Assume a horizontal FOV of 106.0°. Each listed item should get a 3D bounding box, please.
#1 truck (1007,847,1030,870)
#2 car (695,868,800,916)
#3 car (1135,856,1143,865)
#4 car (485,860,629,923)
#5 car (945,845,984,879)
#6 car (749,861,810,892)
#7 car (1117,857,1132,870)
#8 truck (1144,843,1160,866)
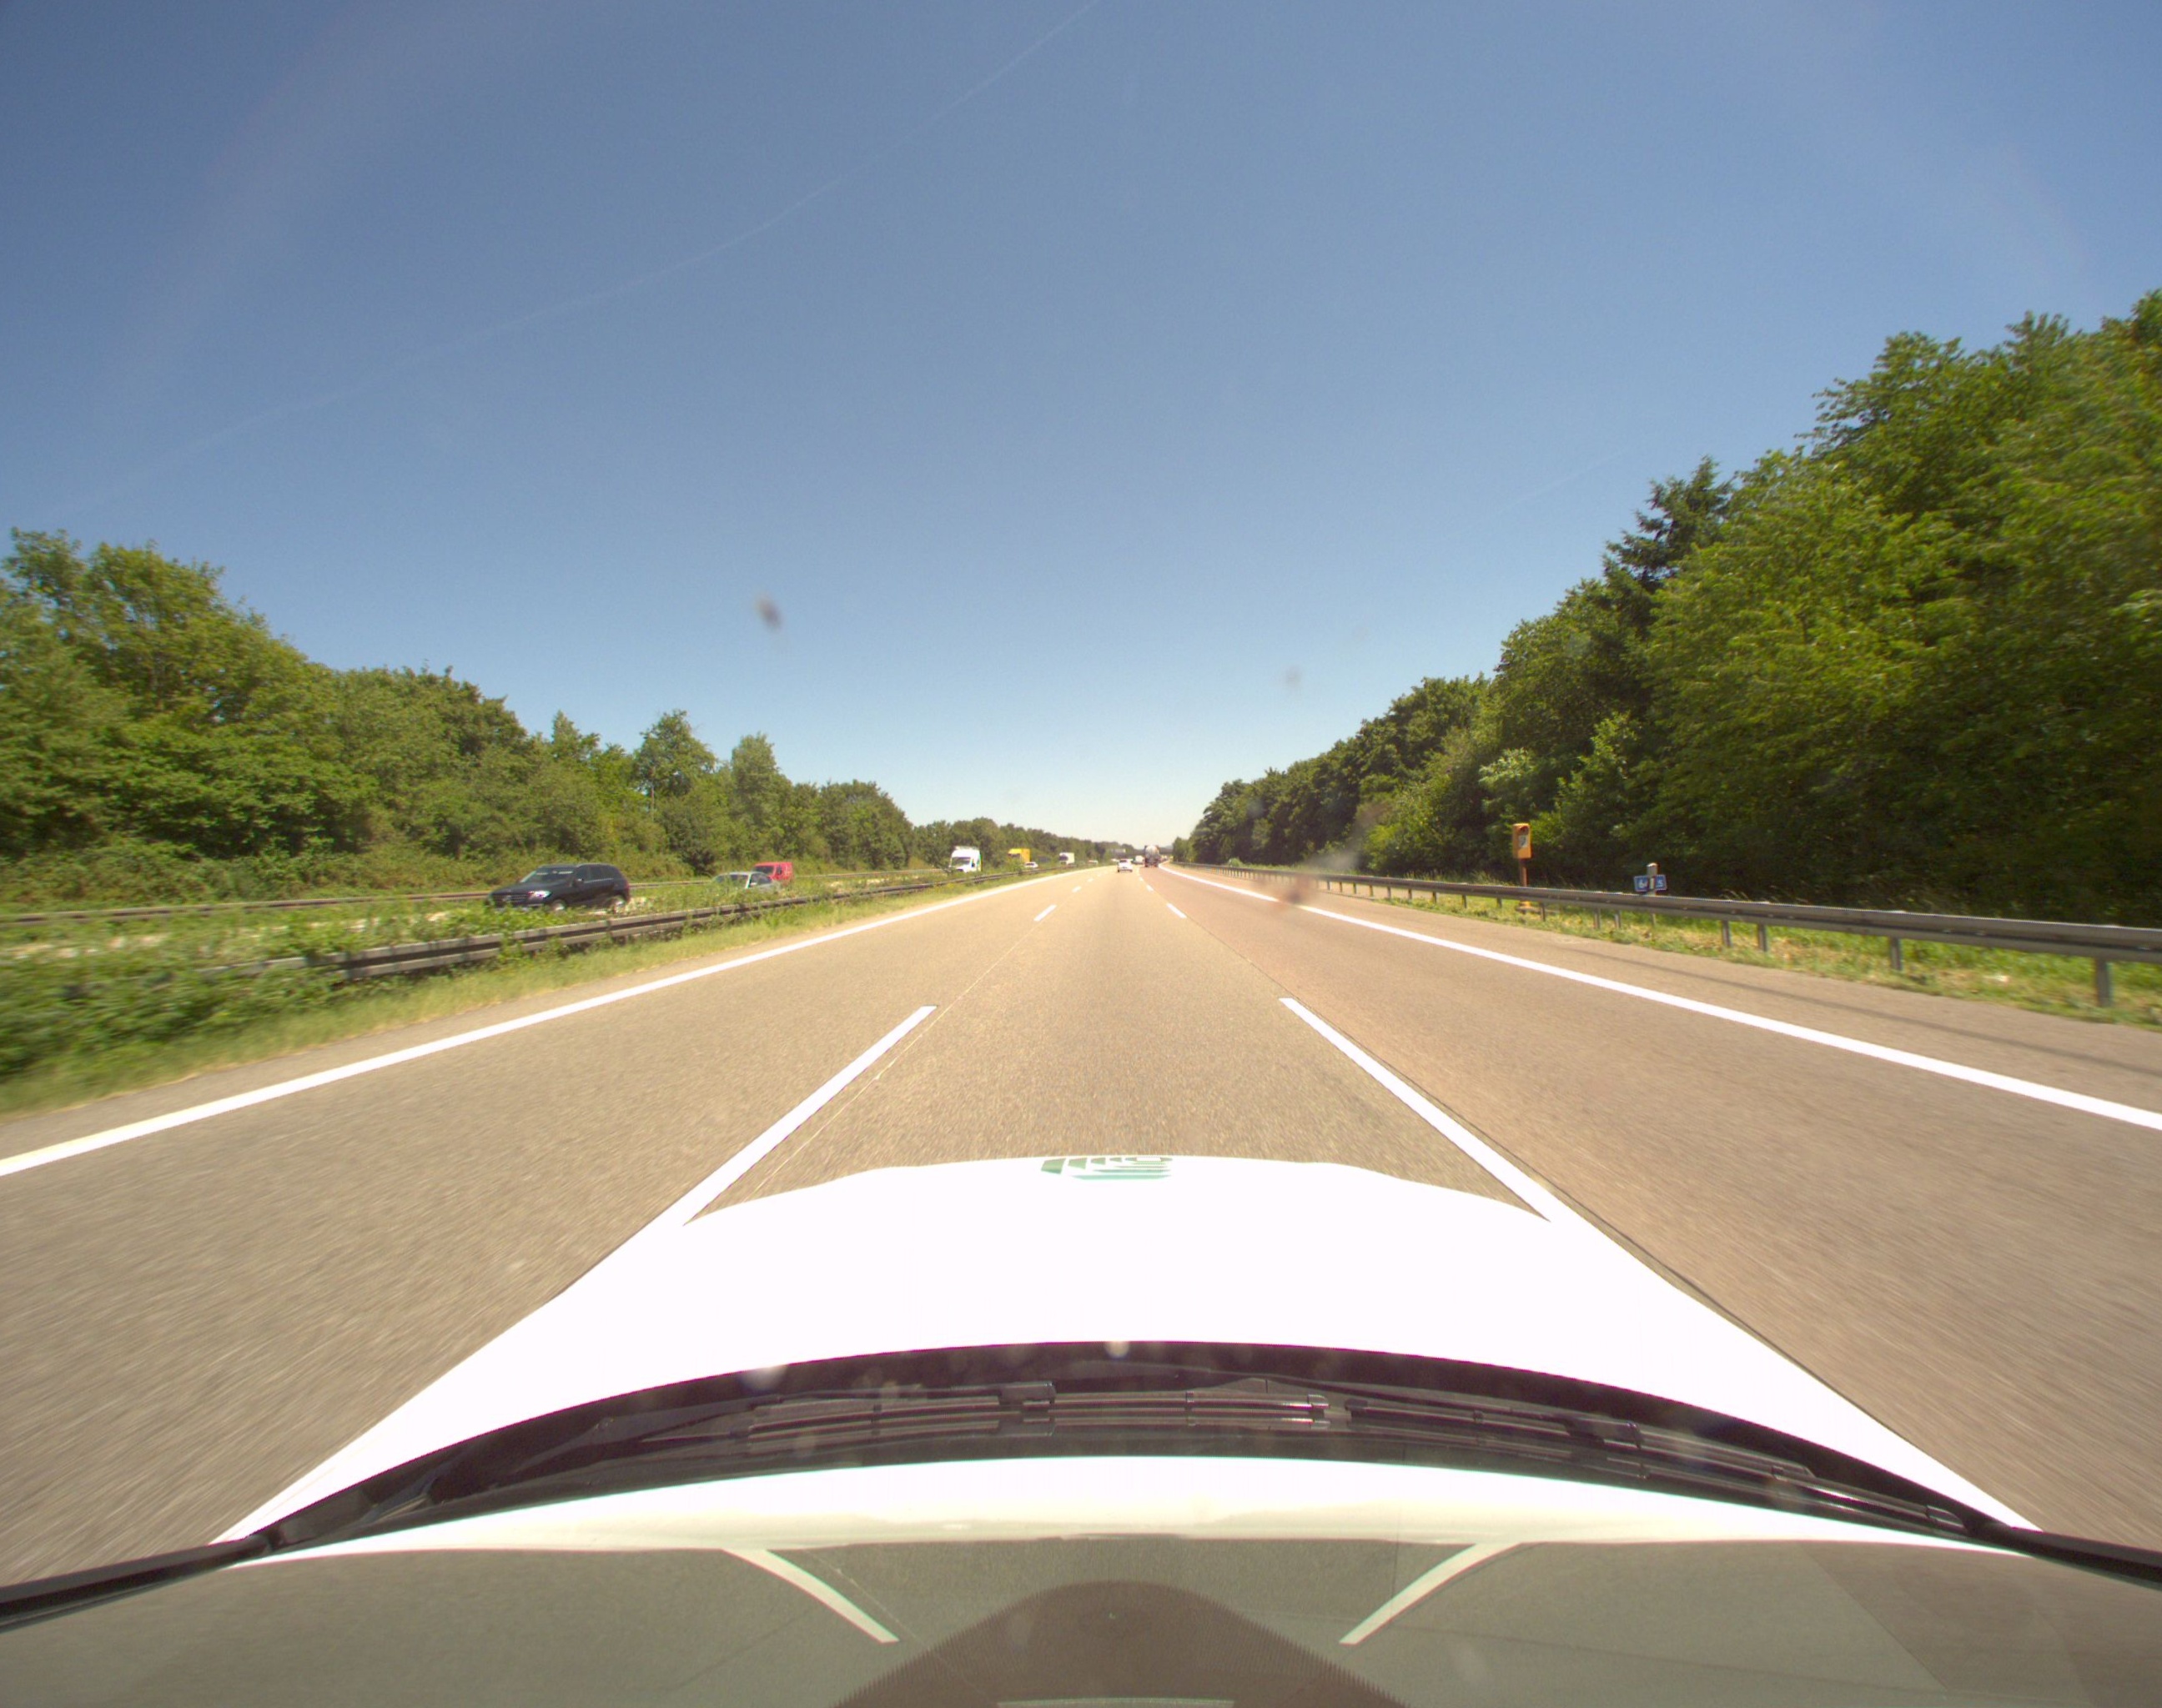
[{"bbox_3d":[-11.619,0.923,152.985,2.737,4.040,10.802,-1,-1,4],"label":"truck"},{"bbox_3d":[-11.816,1.291,29.180,1.756,1.513,4.395,-1,0,2],"label":"car"},{"bbox_3d":[16.587,1.838,232.518,1.985,2.343,4.391,-1,0,4],"label":"car"},{"bbox_3d":[-16.095,1.087,25.293,1.660,1.754,4.004,-1,0,4],"label":"car"},{"bbox_3d":[-9.859,0.669,69.320,2.079,2.779,5.833,-1,0,3],"label":"car"},{"bbox_3d":[-18.394,1.353,49.910,1.696,1.776,4.772,-1,0,4],"label":"car"},{"bbox_3d":[5.018,1.099,94.326,1.620,1.479,4.005,-2,-1,4],"label":"car"},{"bbox_3d":[13.099,0.189,150.419,2.726,4.052,10.469,-2,-1,5],"label":"truck"}]
